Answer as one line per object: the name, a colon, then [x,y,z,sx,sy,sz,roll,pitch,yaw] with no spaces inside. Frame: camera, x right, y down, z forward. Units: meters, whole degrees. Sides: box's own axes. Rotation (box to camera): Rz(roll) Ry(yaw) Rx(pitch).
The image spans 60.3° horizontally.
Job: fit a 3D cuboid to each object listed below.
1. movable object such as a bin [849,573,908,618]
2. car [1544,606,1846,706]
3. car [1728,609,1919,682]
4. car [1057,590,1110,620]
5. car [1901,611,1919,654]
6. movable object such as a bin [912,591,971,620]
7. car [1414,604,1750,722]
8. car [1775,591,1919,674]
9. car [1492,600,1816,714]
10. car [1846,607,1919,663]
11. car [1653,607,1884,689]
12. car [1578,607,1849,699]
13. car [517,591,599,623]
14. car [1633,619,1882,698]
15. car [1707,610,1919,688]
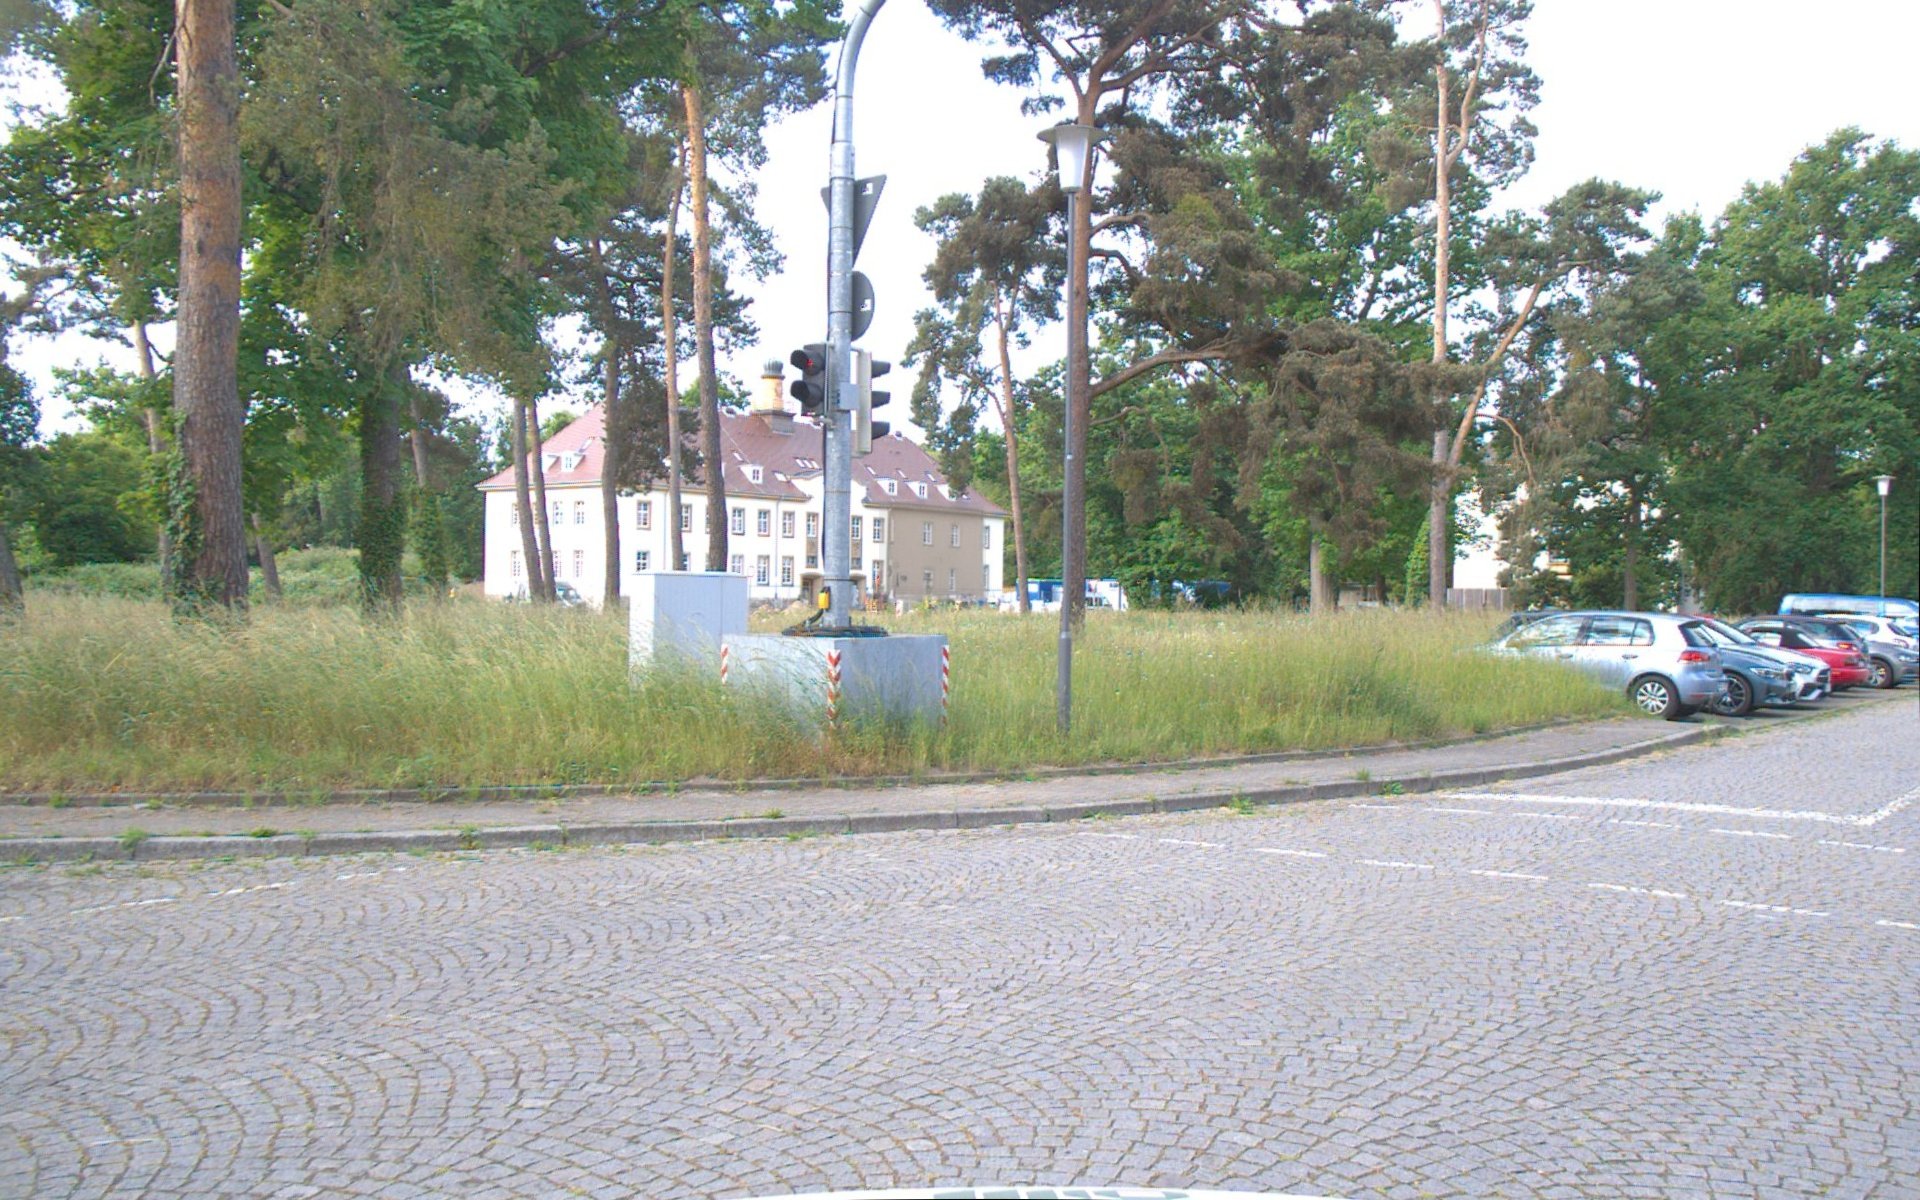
movable object such as a bin: [-6.910,-0.362,139.759,2.116,3.705,6.062,2,-2,-34]
car: [12.514,0.914,28.272,4.368,1.481,1.939,1,0,39]
car: [20.338,1.020,38.740,3.944,1.528,1.833,1,1,40]
car: [9.454,0.396,126.630,2.028,2.132,4.326,-1,-2,37]
car: [35.269,1.174,58.004,3.754,1.515,1.780,1,1,38]
movable object such as a bin: [-1.546,0.439,137.294,4.444,2.293,2.364,0,-2,44]
car: [9.058,0.860,24.267,4.263,1.496,1.817,1,0,40]
car: [23.806,0.818,42.720,4.634,2.015,2.029,1,1,38]
car: [10.916,0.843,26.128,4.425,1.564,1.864,1,0,36]
car: [29.082,1.073,49.806,4.002,1.602,1.946,1,1,38]
car: [16.728,0.955,34.301,4.025,1.506,1.746,1,1,40]
car: [13.732,0.915,30.243,4.187,1.480,1.846,1,1,39]
car: [-29.150,0.531,119.847,5.697,2.152,2.366,1,-2,30]
car: [15.369,1.088,31.967,4.066,1.305,1.755,1,1,39]
car: [18.865,1.021,36.263,4.239,1.506,1.722,1,1,40]
